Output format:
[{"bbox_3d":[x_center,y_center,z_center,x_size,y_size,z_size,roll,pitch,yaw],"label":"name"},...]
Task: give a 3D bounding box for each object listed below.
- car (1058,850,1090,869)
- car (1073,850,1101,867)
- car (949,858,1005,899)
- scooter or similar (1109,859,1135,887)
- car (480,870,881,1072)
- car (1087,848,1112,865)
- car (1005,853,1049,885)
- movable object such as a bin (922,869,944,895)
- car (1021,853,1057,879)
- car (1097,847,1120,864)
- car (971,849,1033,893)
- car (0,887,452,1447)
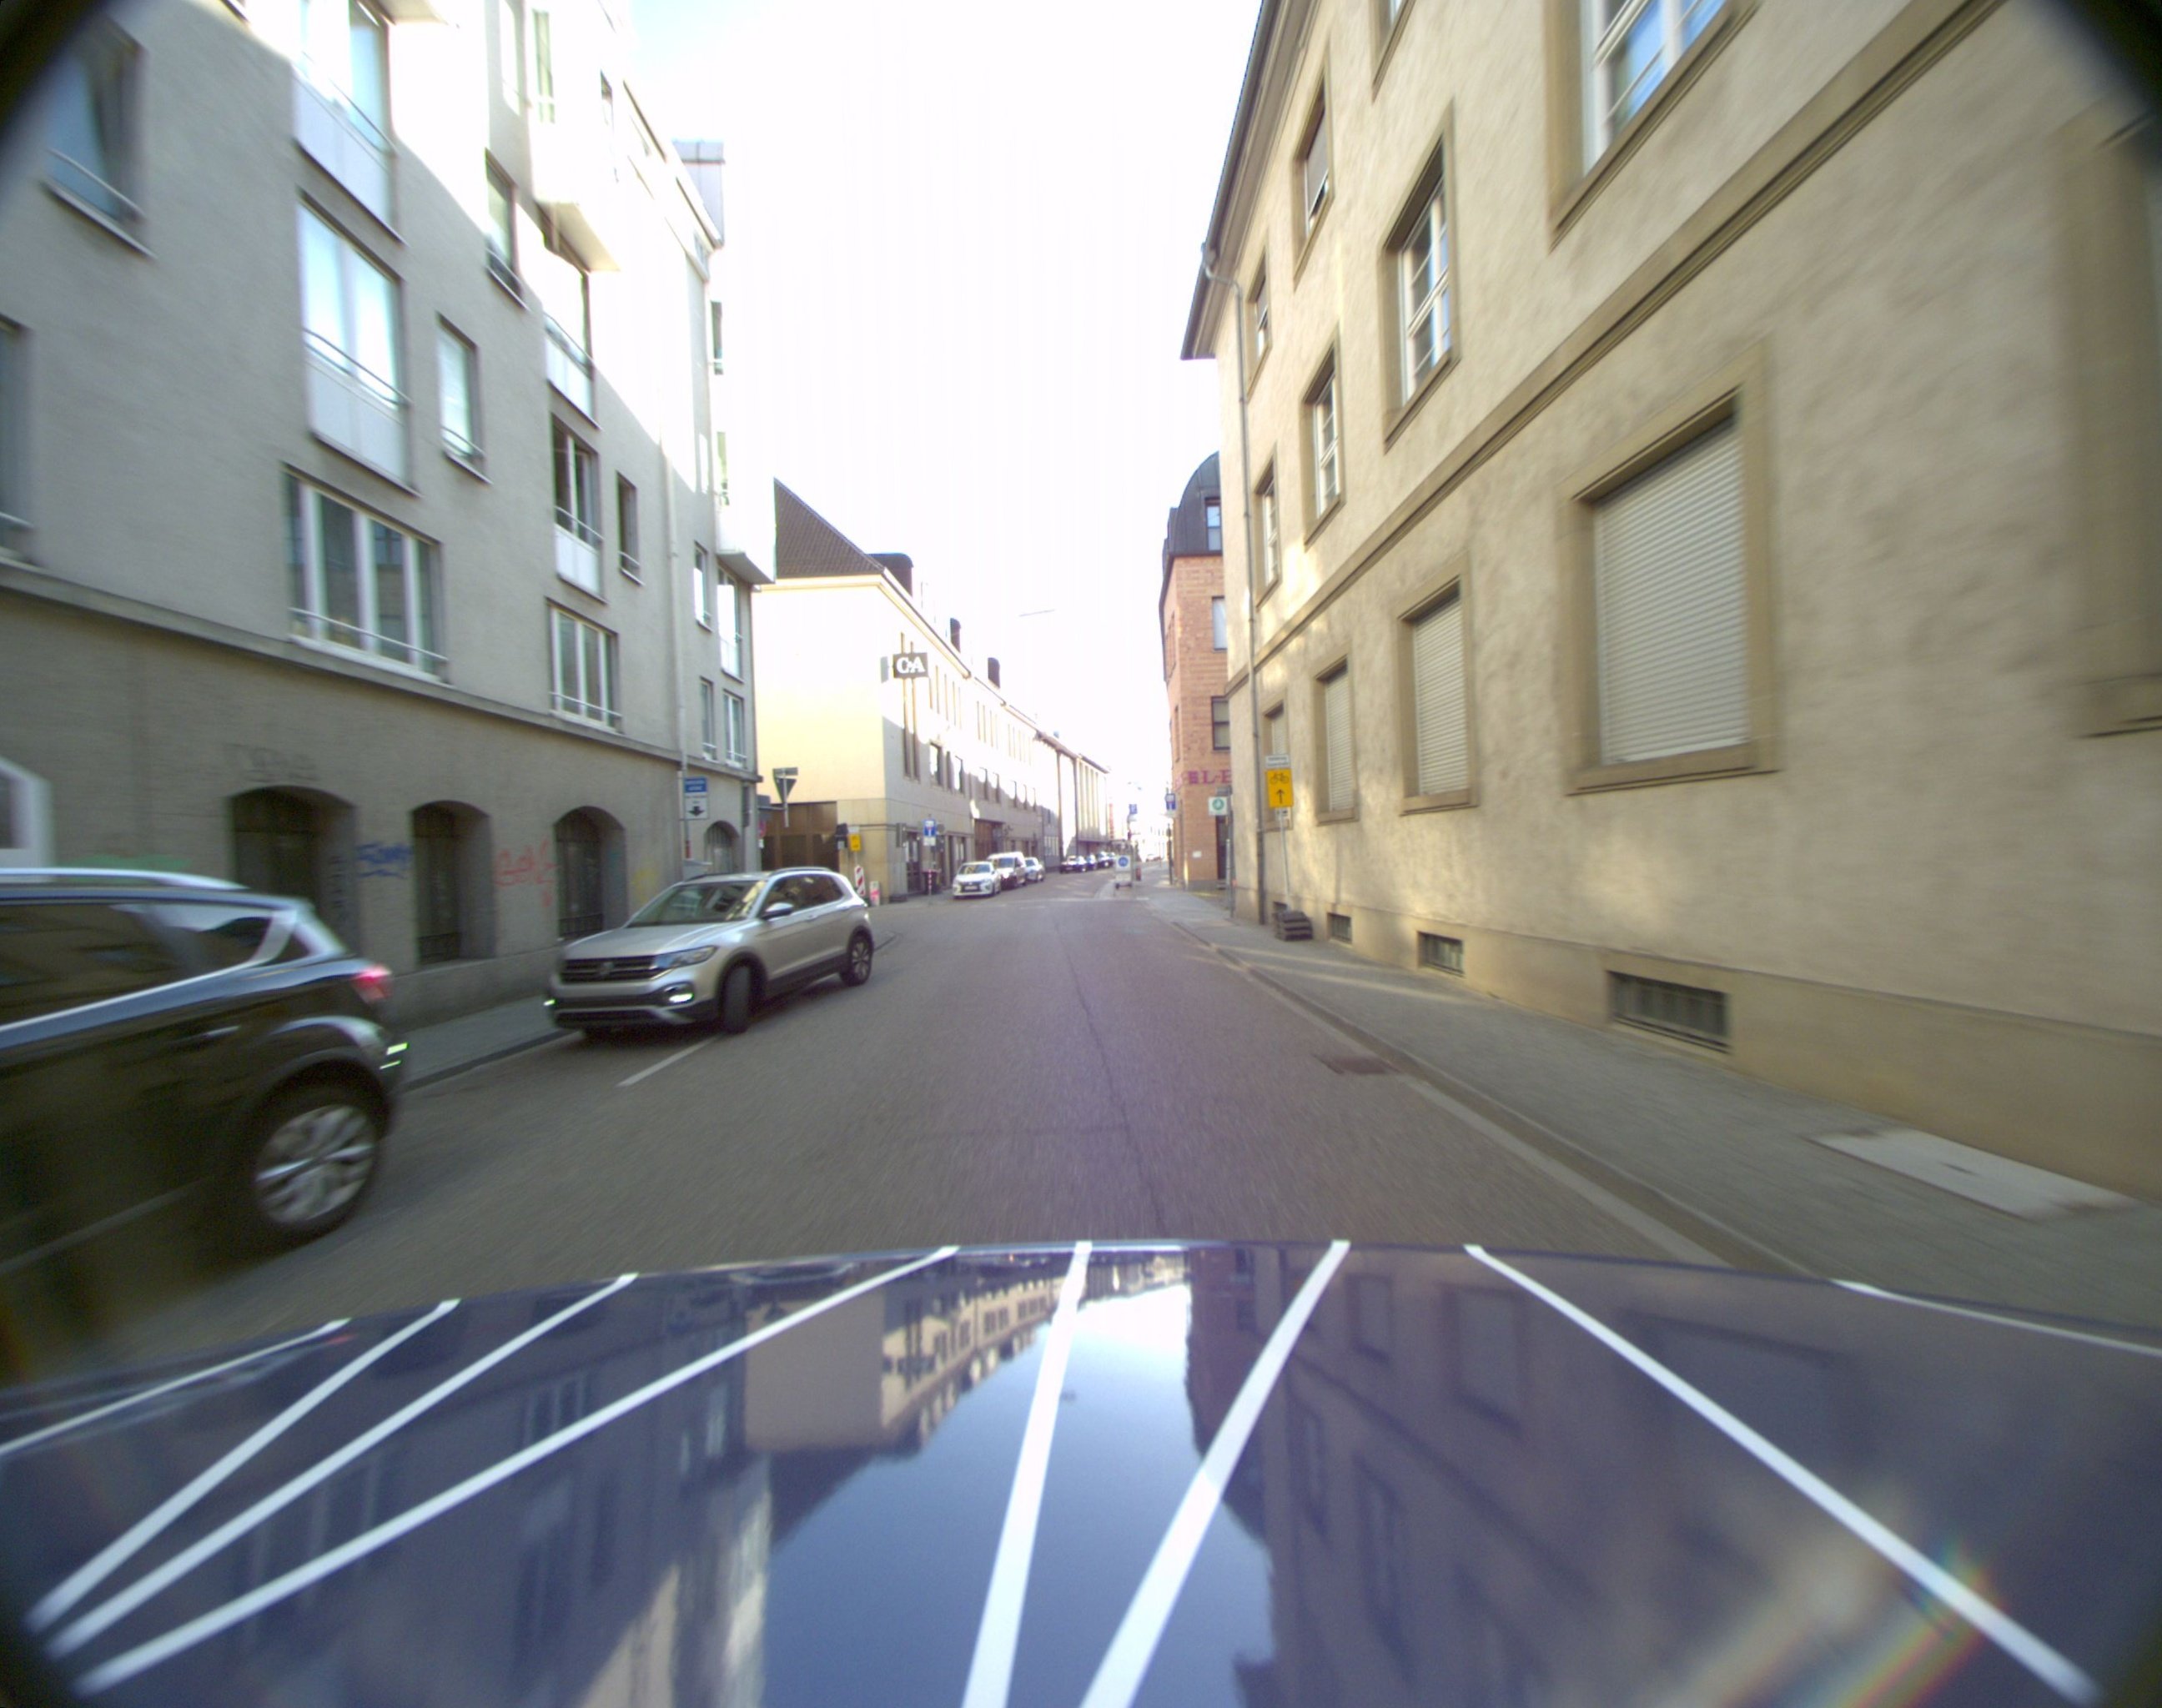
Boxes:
[{"bbox_3d":[-0.551,0.464,65.078,1.964,1.400,4.198,-4,1,9],"label":"car"},{"bbox_3d":[0.614,0.391,71.500,1.964,1.400,4.198,-4,1,9],"label":"car"},{"bbox_3d":[-4.349,1.000,32.409,1.735,1.539,4.000,-3,0,0],"label":"car"},{"bbox_3d":[1.813,0.835,33.536,0.467,1.217,1.302,-1,0,40],"label":"scooter or similar"},{"bbox_3d":[-3.988,1.066,8.478,1.828,1.550,3.989,-3,0,9],"label":"car"},{"bbox_3d":[1.904,0.218,77.452,1.964,1.527,4.198,-4,1,9],"label":"car"},{"bbox_3d":[-3.137,0.814,44.574,1.775,1.574,3.858,-6,0,6],"label":"car"},{"bbox_3d":[-6.501,1.208,33.451,0.688,1.079,0.929,-3,1,2],"label":"movable object such as a bin"},{"bbox_3d":[-2.945,0.812,54.440,1.775,1.574,3.858,-6,0,7],"label":"car"},{"bbox_3d":[3.092,0.145,84.617,1.964,1.637,4.198,-4,1,9],"label":"car"},{"bbox_3d":[-3.893,0.771,38.434,1.947,1.850,5.196,-6,0,6],"label":"car"},{"bbox_3d":[-4.267,1.054,1.799,1.830,1.645,4.492,-3,0,-2],"label":"car"}]
